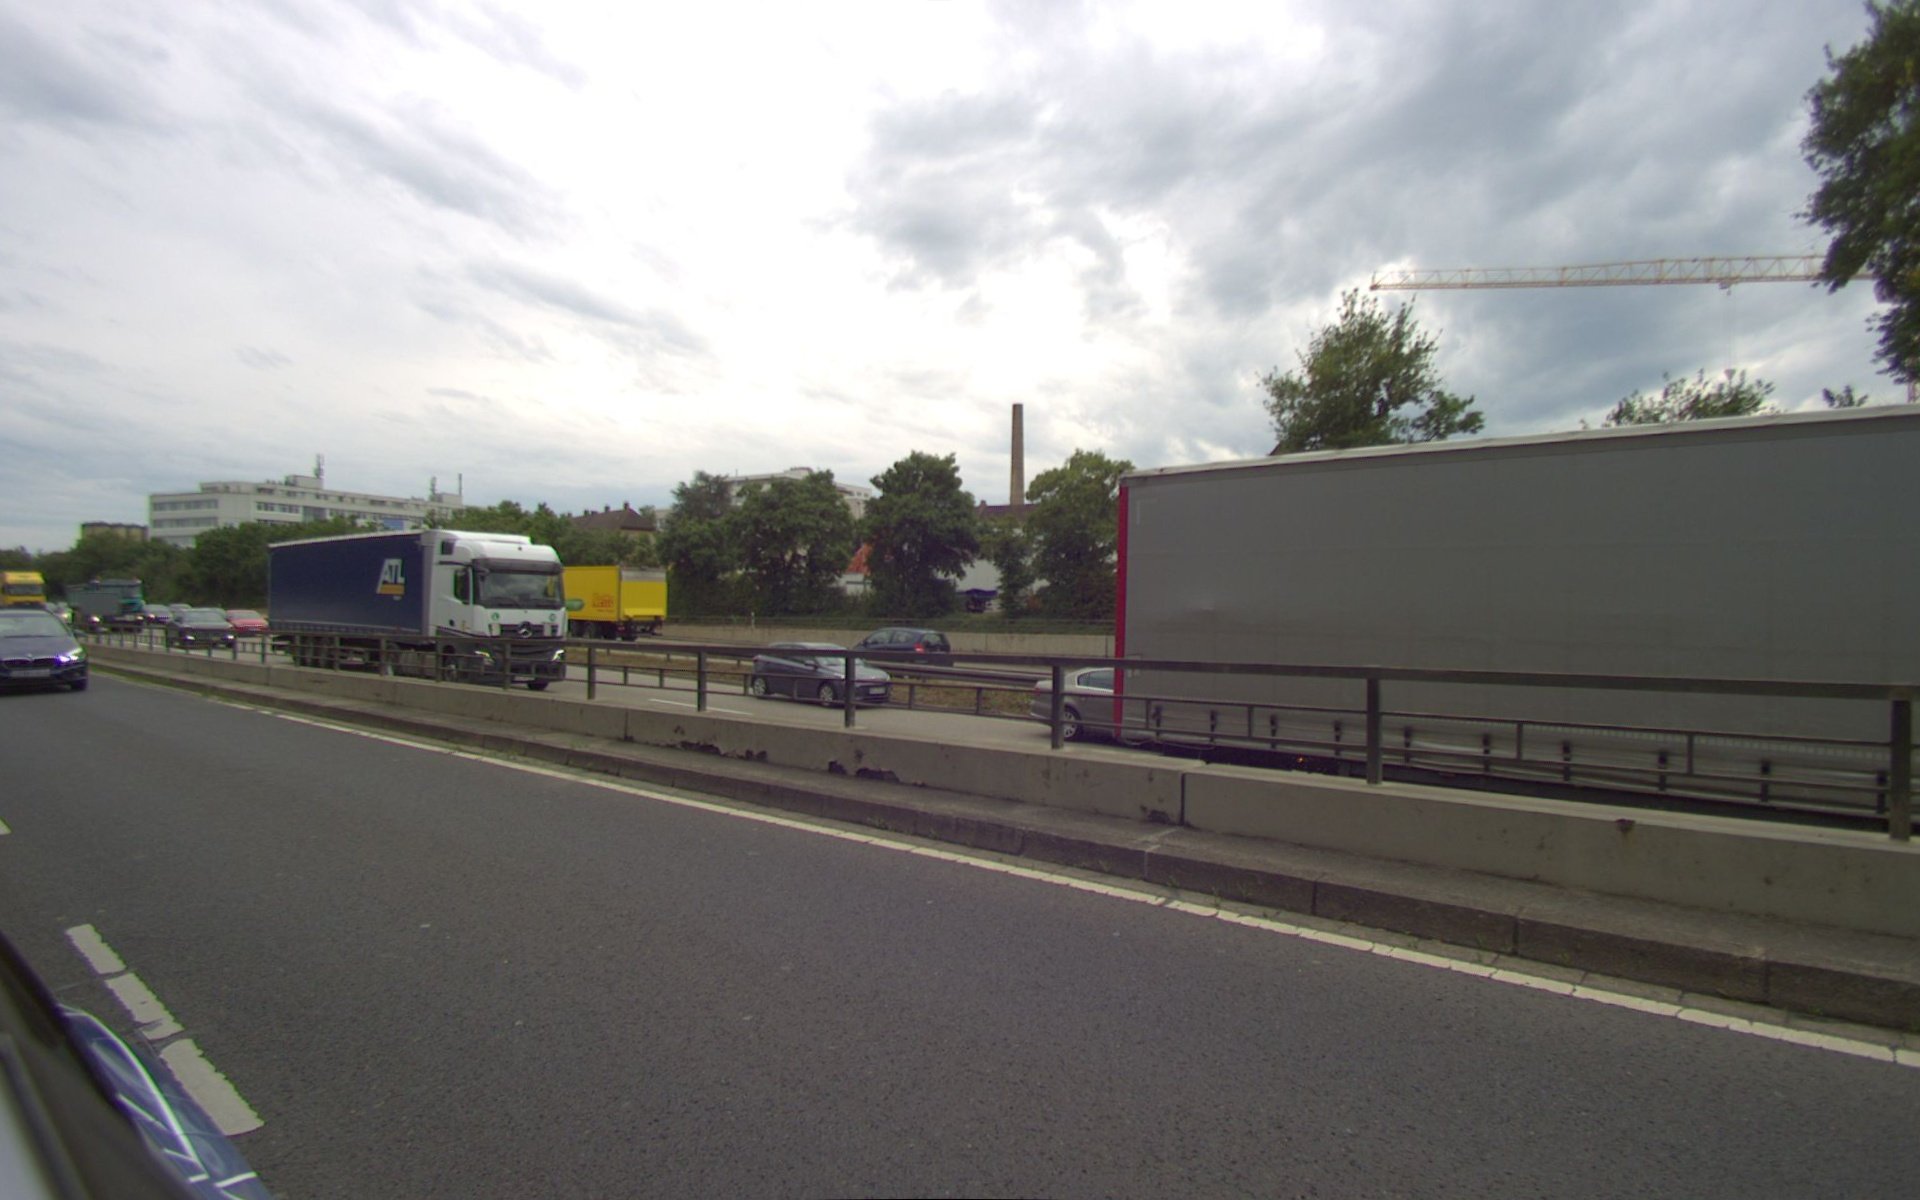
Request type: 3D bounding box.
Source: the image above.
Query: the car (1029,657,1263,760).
[{"bbox_3d":[3.280,1.869,18.309,3.896,1.452,1.606,-1,0,42],"label":"car"}]

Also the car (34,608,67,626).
[{"bbox_3d":[-84.319,1.573,93.850,4.420,1.575,1.761,-1,0,41],"label":"car"}]

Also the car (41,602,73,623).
[{"bbox_3d":[-92.868,1.297,104.047,3.999,2.029,1.973,-1,0,42],"label":"car"}]

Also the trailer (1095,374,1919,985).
[{"bbox_3d":[7.794,0.542,7.273,14.548,4.067,2.623,0,-2,41],"label":"trailer"}]

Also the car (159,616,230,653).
[{"bbox_3d":[-32.494,1.441,42.928,3.998,1.452,1.607,-1,0,41],"label":"car"}]

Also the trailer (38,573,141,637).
[{"bbox_3d":[-55.587,0.369,64.360,16.742,3.668,2.580,0,-2,41],"label":"trailer"}]

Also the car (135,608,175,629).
[{"bbox_3d":[-59.105,1.347,74.300,3.998,1.452,1.607,-1,0,41],"label":"car"}]

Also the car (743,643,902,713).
[{"bbox_3d":[-3.371,1.818,24.504,3.894,1.452,1.607,0,-1,40],"label":"car"}]

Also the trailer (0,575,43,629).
[{"bbox_3d":[-84.110,0.228,89.019,19.913,4.386,2.860,0,-2,41],"label":"trailer"}]

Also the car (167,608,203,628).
[{"bbox_3d":[-62.758,1.467,81.944,3.895,1.523,1.607,-1,0,41],"label":"car"}]

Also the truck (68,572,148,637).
[{"bbox_3d":[-50.274,0.294,59.661,6.665,3.663,2.611,0,-2,41],"label":"truck"}]

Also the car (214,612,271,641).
[{"bbox_3d":[-38.661,1.389,54.518,3.998,1.452,1.607,-1,0,41],"label":"car"}]

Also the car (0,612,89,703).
[{"bbox_3d":[-18.426,1.046,19.599,4.420,1.575,1.761,-1,0,41],"label":"car"}]

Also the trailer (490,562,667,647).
[{"bbox_3d":[-20.602,0.291,53.846,13.769,4.067,2.498,0,-2,41],"label":"trailer"}]

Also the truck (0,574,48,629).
[{"bbox_3d":[-77.410,0.176,83.116,6.516,4.377,2.856,0,-2,41],"label":"truck"}]

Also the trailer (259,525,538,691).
[{"bbox_3d":[-17.494,0.260,30.565,14.777,4.067,2.498,0,-2,41],"label":"trailer"}]

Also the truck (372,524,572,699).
[{"bbox_3d":[-12.863,0.304,26.477,6.094,4.067,2.498,0,-2,41],"label":"truck"}]
